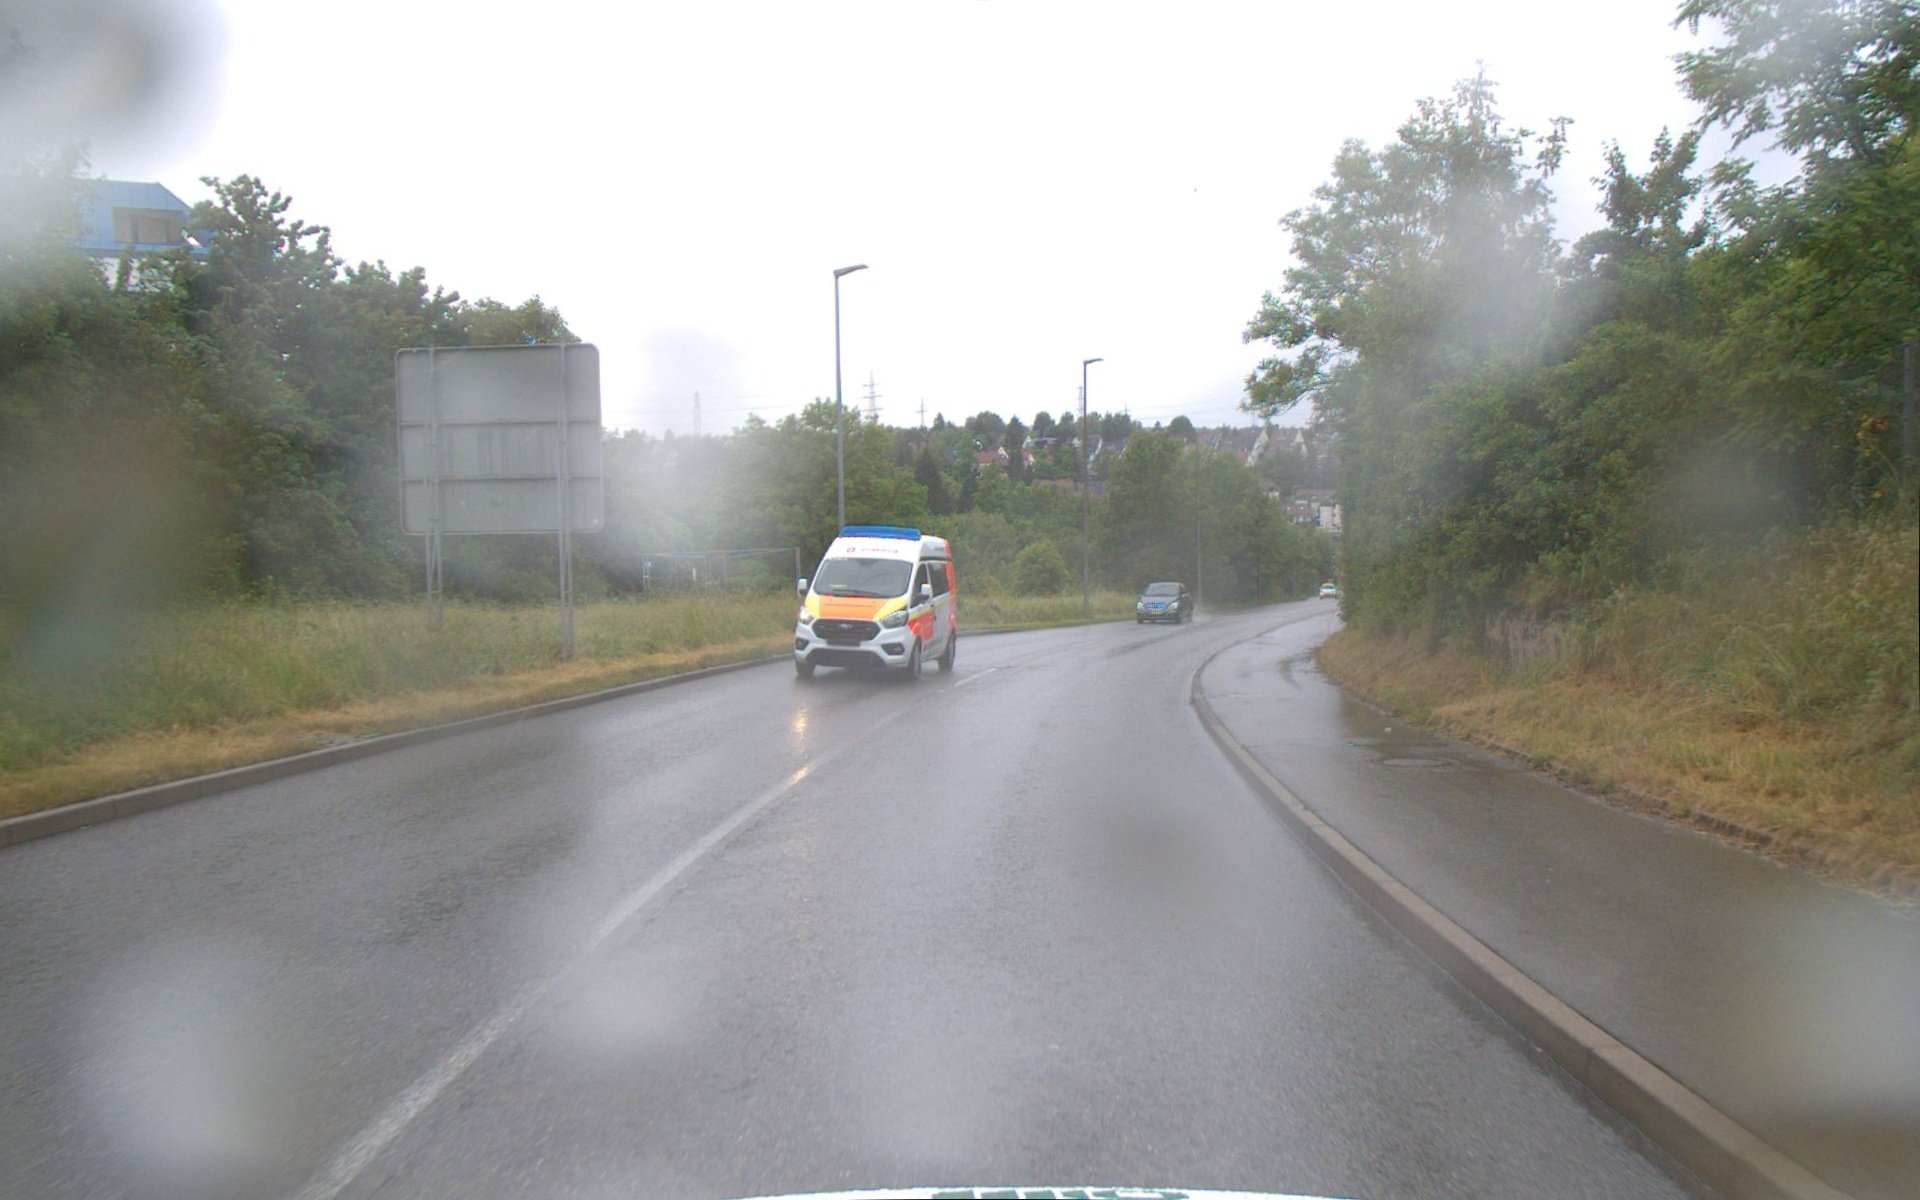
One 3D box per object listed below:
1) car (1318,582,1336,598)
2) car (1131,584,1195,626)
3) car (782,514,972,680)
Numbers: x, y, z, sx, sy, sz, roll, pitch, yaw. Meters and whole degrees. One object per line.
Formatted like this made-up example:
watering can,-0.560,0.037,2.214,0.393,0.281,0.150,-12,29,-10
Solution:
car,35.991,-1.006,162.174,1.604,1.514,3.457,-2,0,13
car,8.162,0.181,66.201,1.825,1.579,4.268,2,1,17
car,-1.250,-0.060,27.802,2.001,2.460,5.460,2,0,9
